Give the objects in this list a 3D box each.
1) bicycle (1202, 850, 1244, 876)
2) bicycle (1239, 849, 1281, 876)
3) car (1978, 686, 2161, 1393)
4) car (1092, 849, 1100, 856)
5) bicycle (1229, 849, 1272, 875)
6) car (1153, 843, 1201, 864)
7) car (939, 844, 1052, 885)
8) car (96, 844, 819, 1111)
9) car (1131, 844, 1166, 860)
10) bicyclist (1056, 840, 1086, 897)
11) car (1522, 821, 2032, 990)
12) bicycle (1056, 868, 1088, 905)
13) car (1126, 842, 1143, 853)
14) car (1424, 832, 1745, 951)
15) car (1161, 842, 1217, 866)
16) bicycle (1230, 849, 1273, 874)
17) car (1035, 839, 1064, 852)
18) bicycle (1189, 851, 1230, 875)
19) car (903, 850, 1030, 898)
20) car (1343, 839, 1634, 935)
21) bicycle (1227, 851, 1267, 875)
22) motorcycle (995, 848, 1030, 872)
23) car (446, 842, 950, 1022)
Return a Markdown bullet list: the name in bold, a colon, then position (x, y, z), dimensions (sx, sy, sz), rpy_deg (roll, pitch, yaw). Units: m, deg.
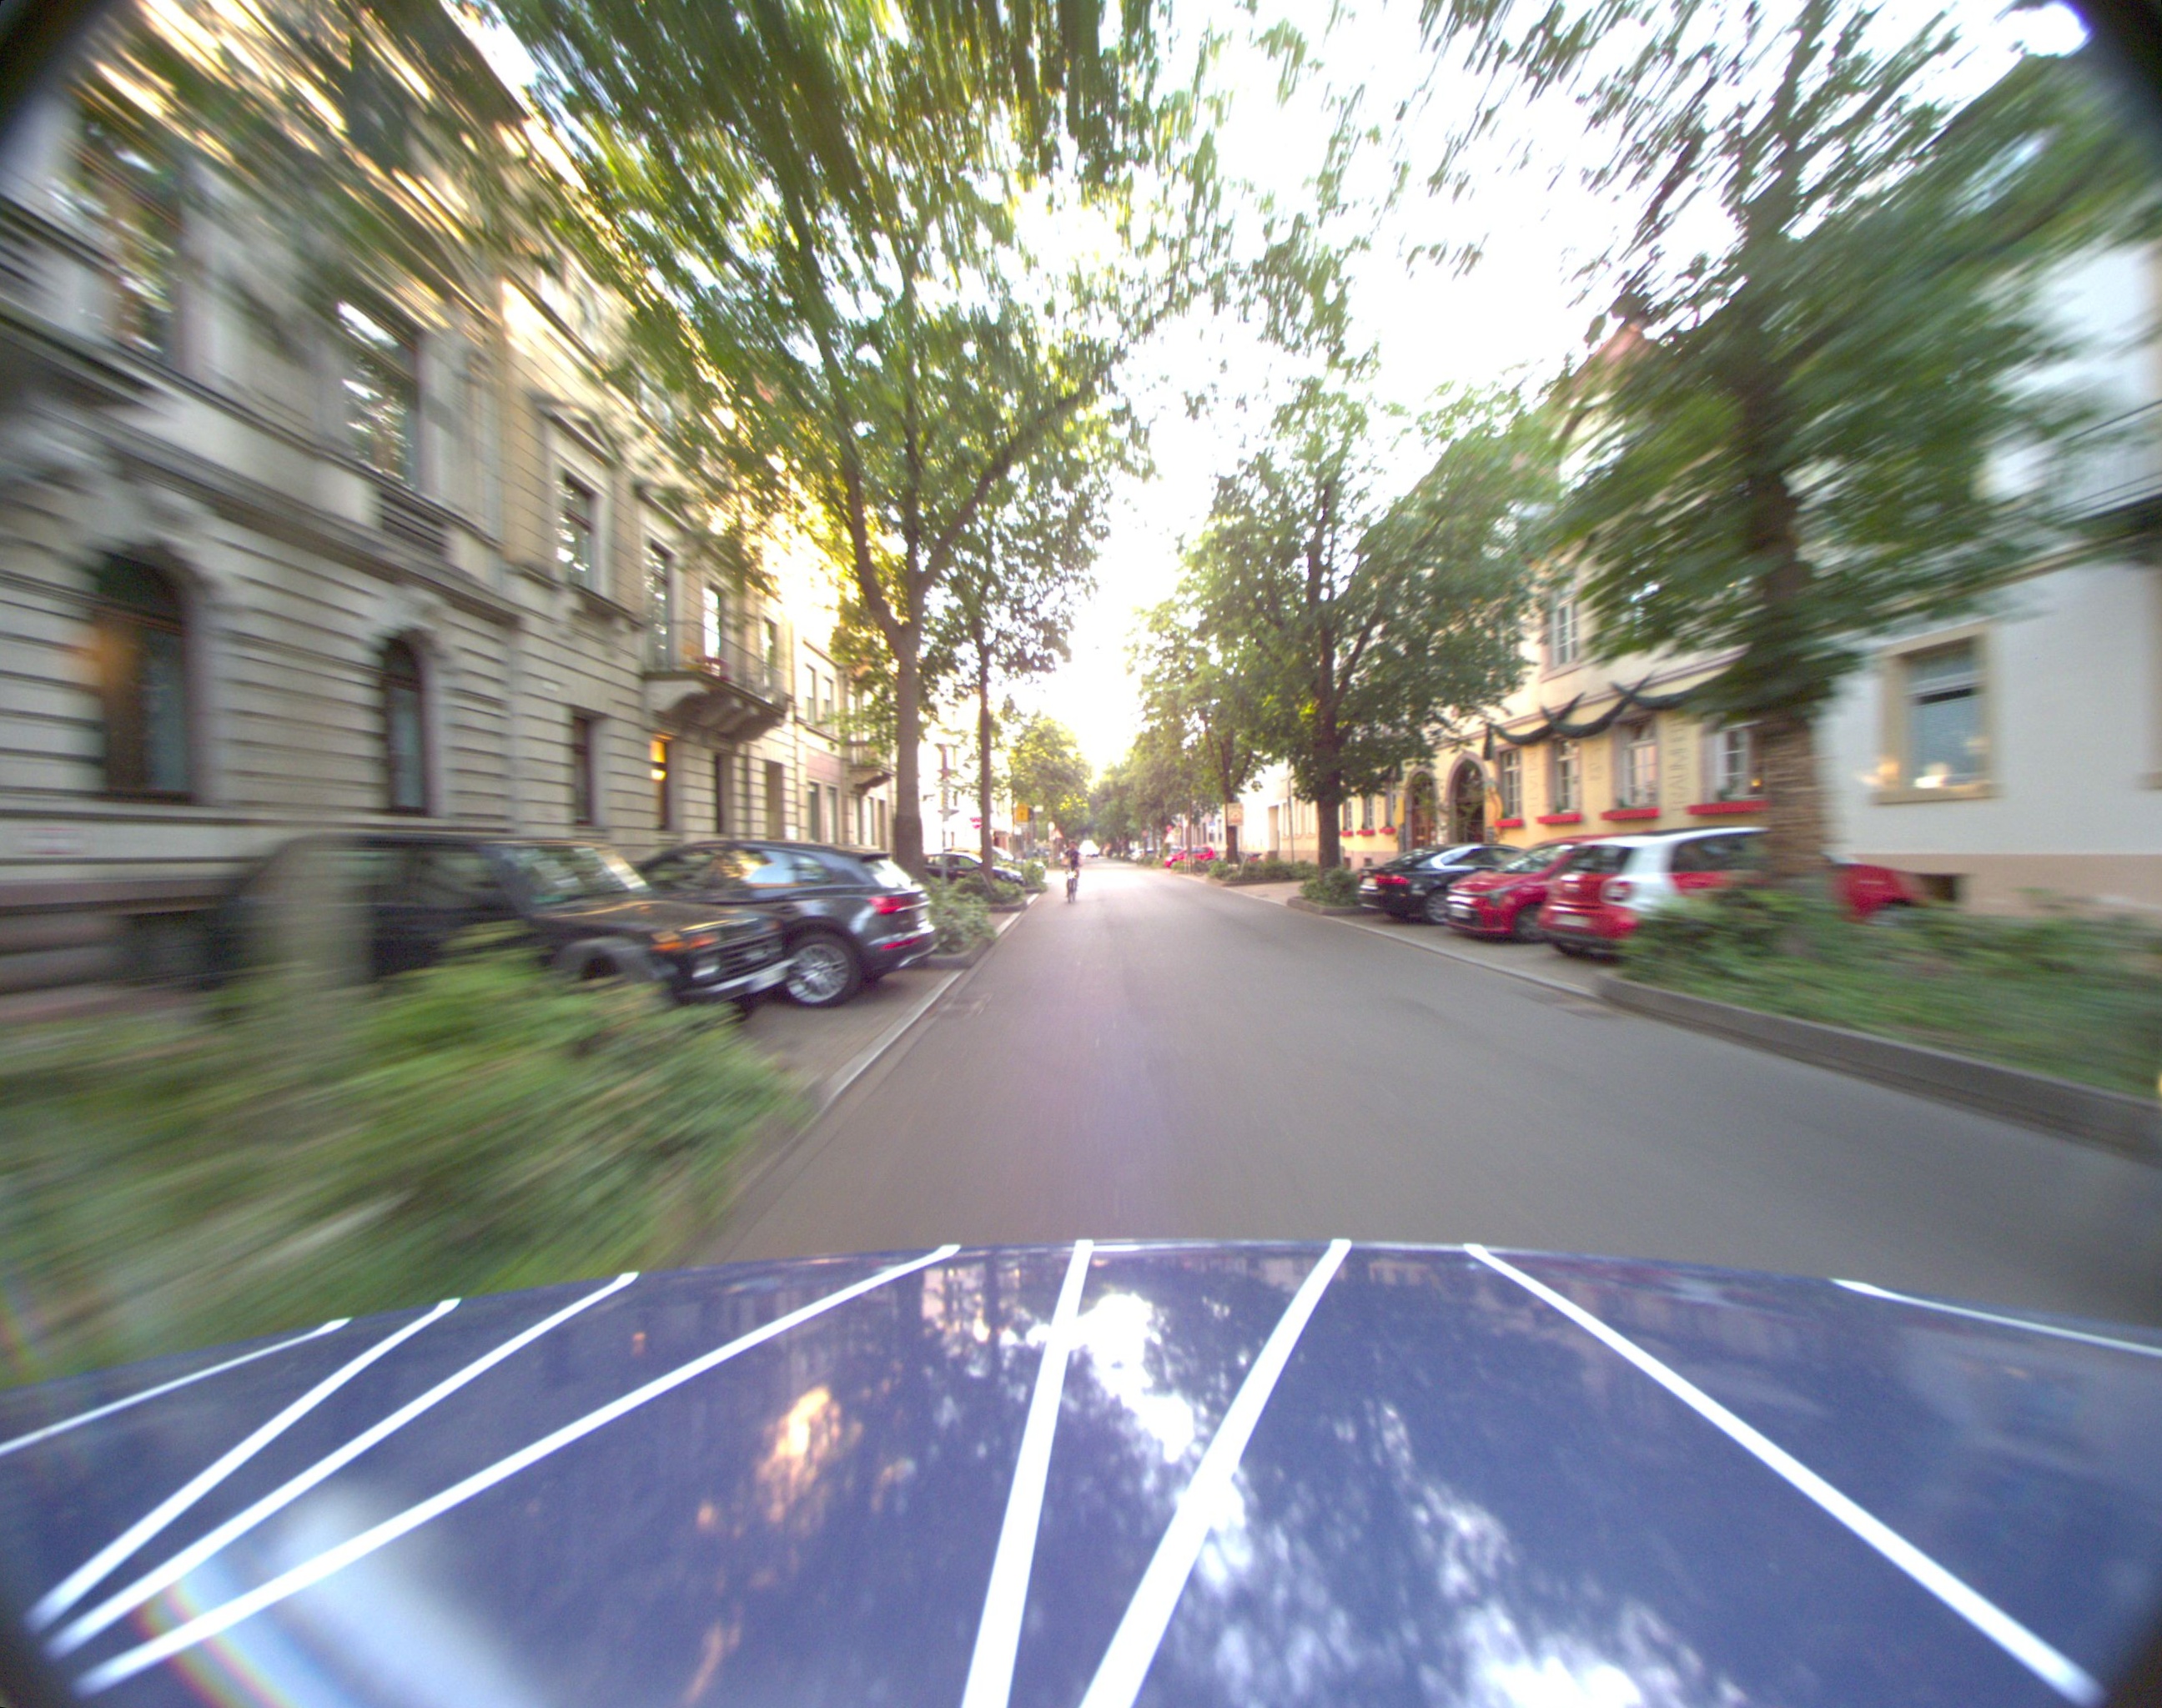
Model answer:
- **bicycle**: position (6.788, 0.416, 36.446), dimensions (1.869, 1.138, 0.480), rpy_deg (-3, 2, -6)
- **bicycle**: position (7.948, 0.389, 33.756), dimensions (1.712, 1.093, 0.480), rpy_deg (-3, 2, -6)
- **car**: position (5.507, 0.395, 1.476), dimensions (5.003, 1.979, 2.189), rpy_deg (-3, 1, -2)
- **car**: position (3.324, -0.428, 165.904), dimensions (1.673, 1.411, 3.554), rpy_deg (-4, 0, 1)
- **bicycle**: position (7.842, 0.358, 35.193), dimensions (1.869, 1.093, 0.480), rpy_deg (-3, 2, -6)
- **car**: position (7.714, -0.019, 61.423), dimensions (3.552, 1.411, 1.590), rpy_deg (-4, 1, -2)
- **car**: position (-3.590, 0.414, 32.354), dimensions (4.420, 1.552, 1.867), rpy_deg (2, 0, 7)
- **car**: position (-4.332, 0.798, 5.789), dimensions (4.018, 1.677, 1.765), rpy_deg (-1, 0, 0)
- **car**: position (7.069, -0.233, 79.739), dimensions (3.552, 1.411, 1.590), rpy_deg (-4, 1, 0)
- **bicyclist**: position (-0.274, 0.417, 22.407), dimensions (0.753, 1.612, 1.147), rpy_deg (-2, 1, 3)
- **car**: position (7.927, 0.530, 8.976), dimensions (4.365, 1.530, 1.771), rpy_deg (-4, 2, 0)
- **bicycle**: position (-0.247, 0.934, 22.483), dimensions (0.778, 0.967, 2.024), rpy_deg (-2, 1, 3)
- **car**: position (7.130, -0.851, 101.111), dimensions (1.998, 1.368, 3.999), rpy_deg (-2, 1, 0)
- **car**: position (7.438, 0.521, 11.484), dimensions (3.693, 1.441, 1.659), rpy_deg (-4, 1, 0)
- **car**: position (7.464, -0.026, 52.582), dimensions (3.497, 1.397, 1.672), rpy_deg (-4, 1, -2)
- **bicycle**: position (8.047, 0.347, 35.902), dimensions (1.869, 1.093, 0.509), rpy_deg (-3, 2, -6)
- **car**: position (-4.006, -1.060, 96.391), dimensions (3.552, 1.411, 1.590), rpy_deg (-4, 1, 0)
- **bicycle**: position (6.356, 0.435, 37.635), dimensions (1.869, 1.092, 0.480), rpy_deg (-3, 2, -6)
- **car**: position (-3.697, 0.628, 25.009), dimensions (3.875, 1.419, 1.781), rpy_deg (2, 0, -1)
- **car**: position (7.364, 0.550, 13.979), dimensions (4.436, 1.399, 1.717), rpy_deg (-3, 2, -3)
- **bicycle**: position (8.292, 0.422, 37.918), dimensions (1.869, 1.093, 0.480), rpy_deg (-3, 2, -6)
- **motorcycle**: position (-4.630, 0.406, 51.320), dimensions (2.248, 1.537, 0.772), rpy_deg (-3, 2, -15)
- **car**: position (-3.834, 0.735, 8.262), dimensions (4.451, 1.708, 1.967), rpy_deg (0, 2, 0)
